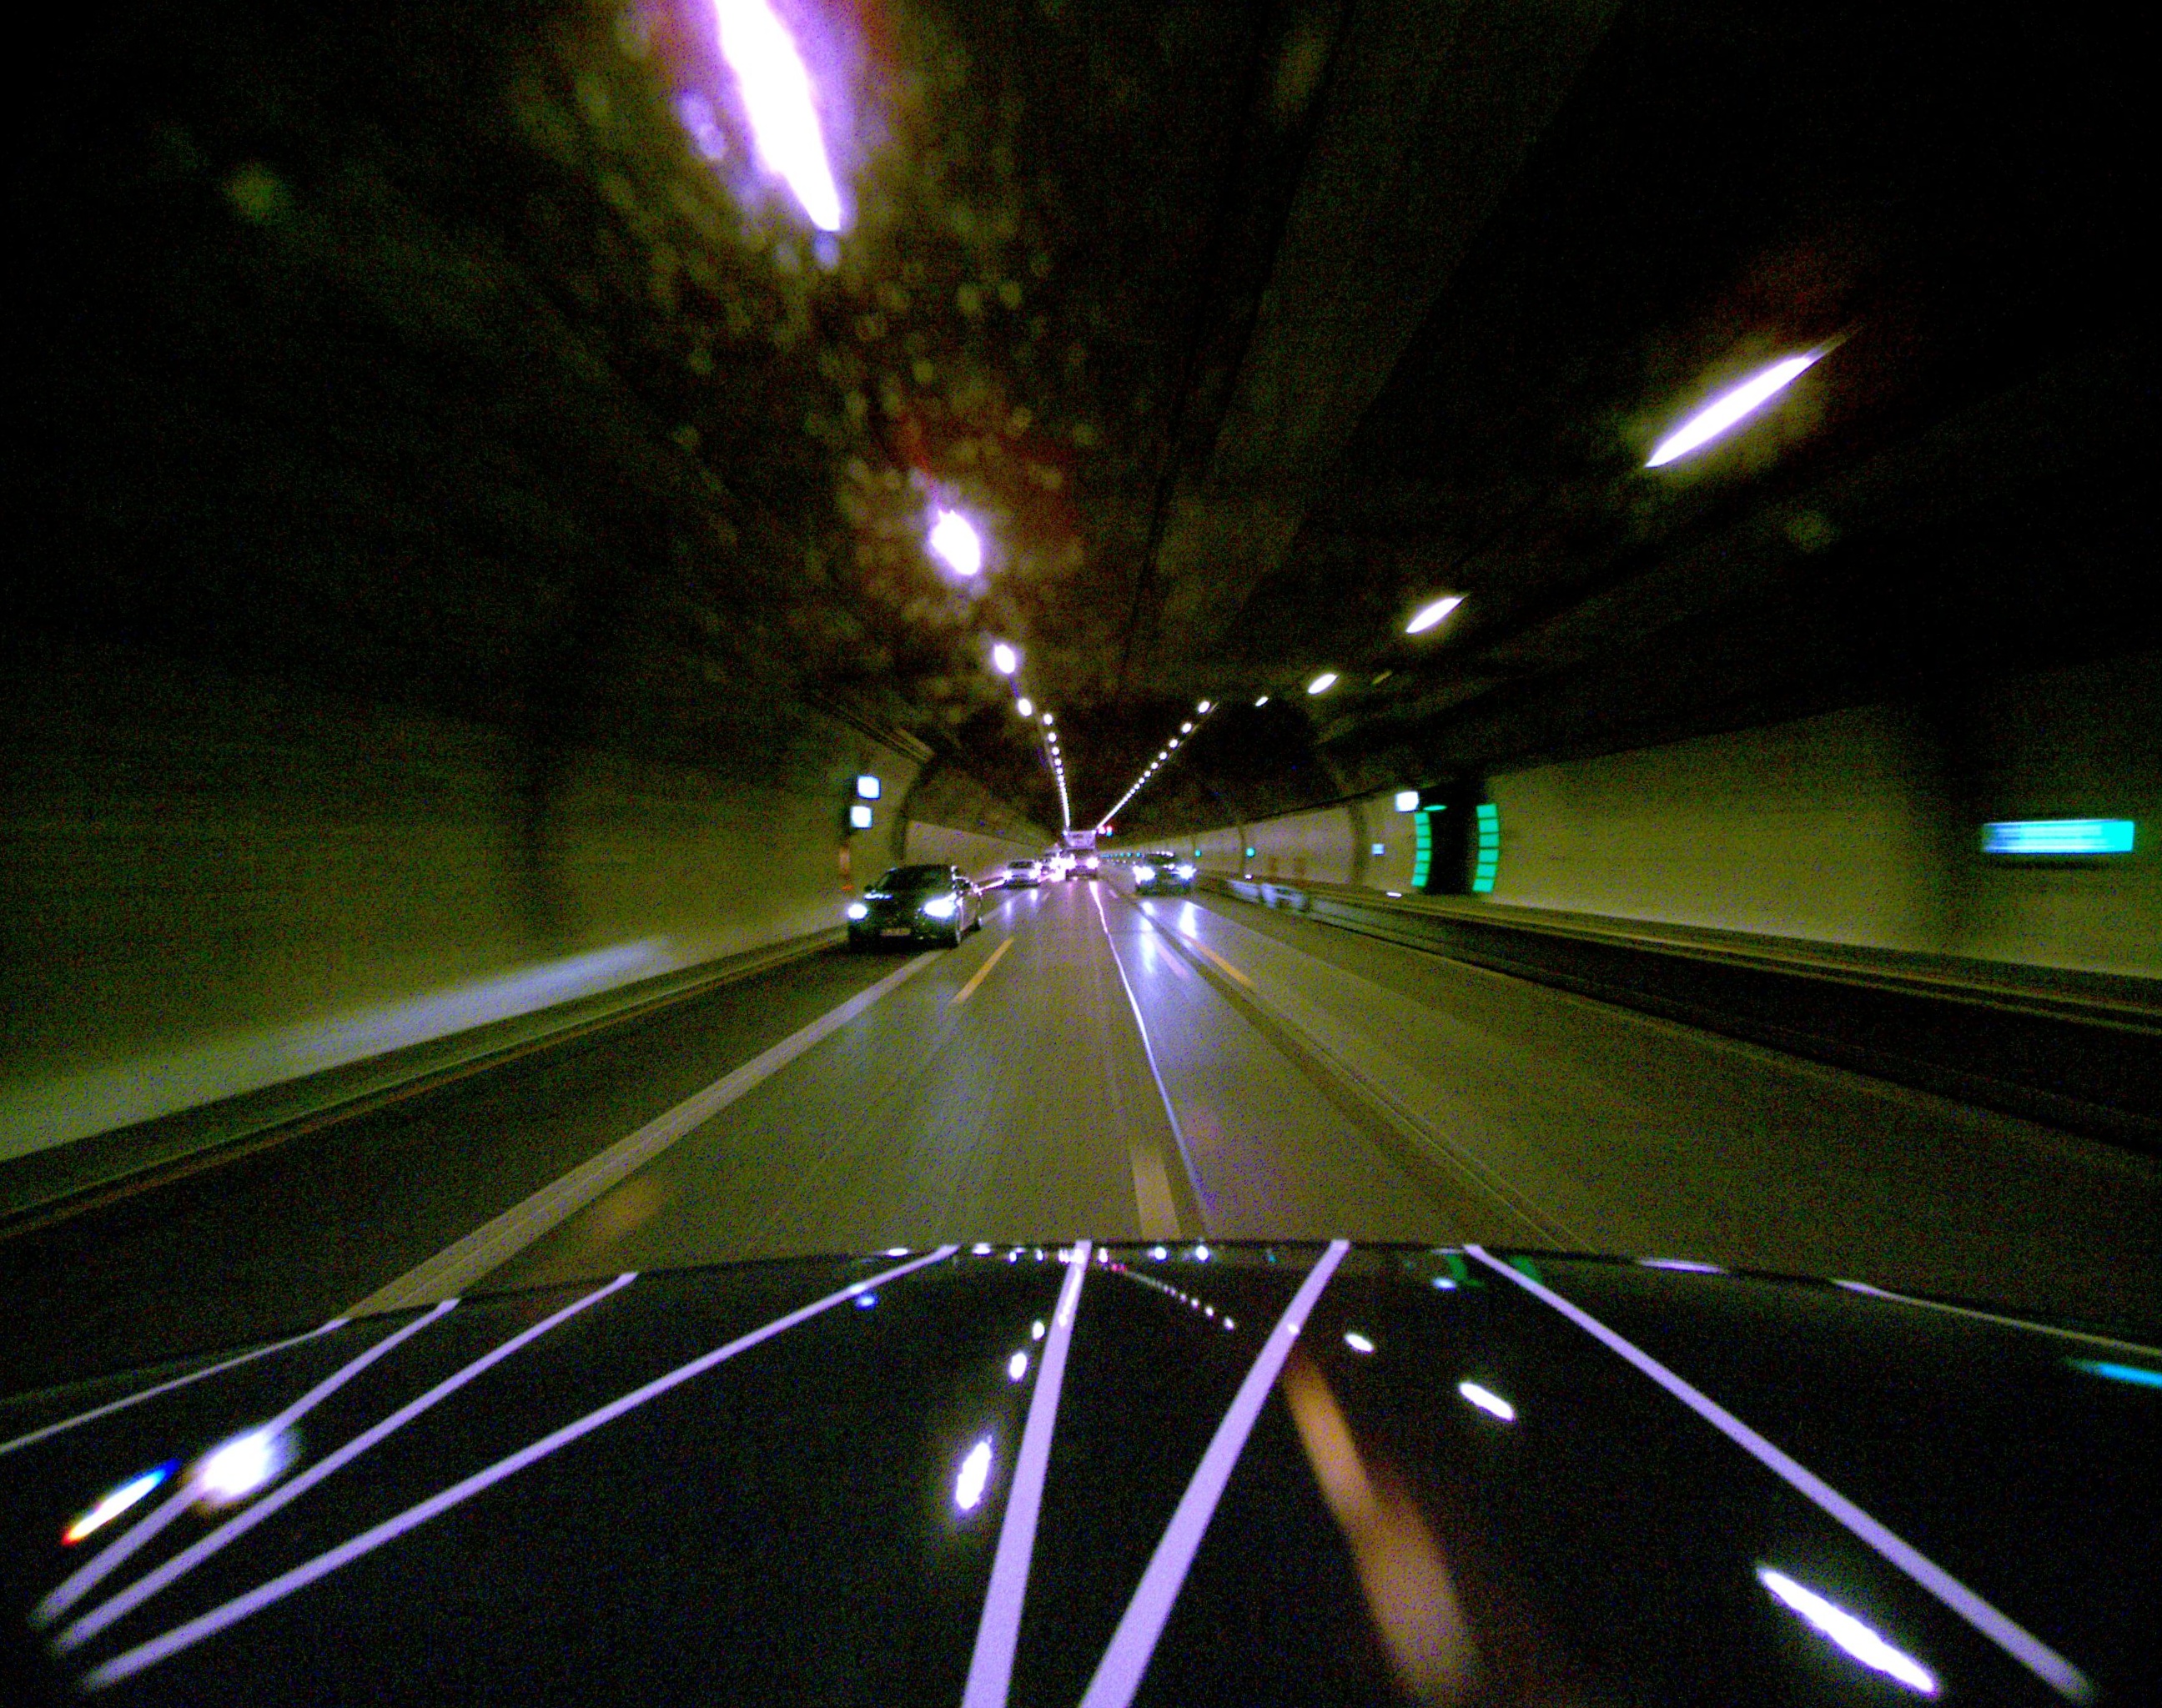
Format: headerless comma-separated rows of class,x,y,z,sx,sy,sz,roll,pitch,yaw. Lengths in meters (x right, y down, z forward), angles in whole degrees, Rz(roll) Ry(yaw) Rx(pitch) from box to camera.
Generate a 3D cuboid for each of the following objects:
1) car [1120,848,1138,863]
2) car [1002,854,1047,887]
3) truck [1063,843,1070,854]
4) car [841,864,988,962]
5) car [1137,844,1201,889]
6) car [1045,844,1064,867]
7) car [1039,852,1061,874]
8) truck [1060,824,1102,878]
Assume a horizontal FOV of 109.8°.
car,5.673,0.165,90.549,1.998,1.531,4.851,-2,1,3
car,-2.946,0.830,40.539,1.999,1.531,4.741,-2,1,0
truck,-4.945,-1.843,261.771,2.208,3.449,11.763,-2,0,-1
car,-3.029,1.001,14.799,1.825,1.469,4.521,-2,0,0
car,3.331,0.402,29.620,1.998,1.531,4.742,-2,1,1
car,-3.258,0.188,94.819,1.999,2.710,6.273,-2,1,0
car,-2.897,0.829,71.942,1.999,2.002,4.853,-2,0,-1
truck,-0.011,-0.206,51.499,2.533,3.314,7.715,-2,0,0
